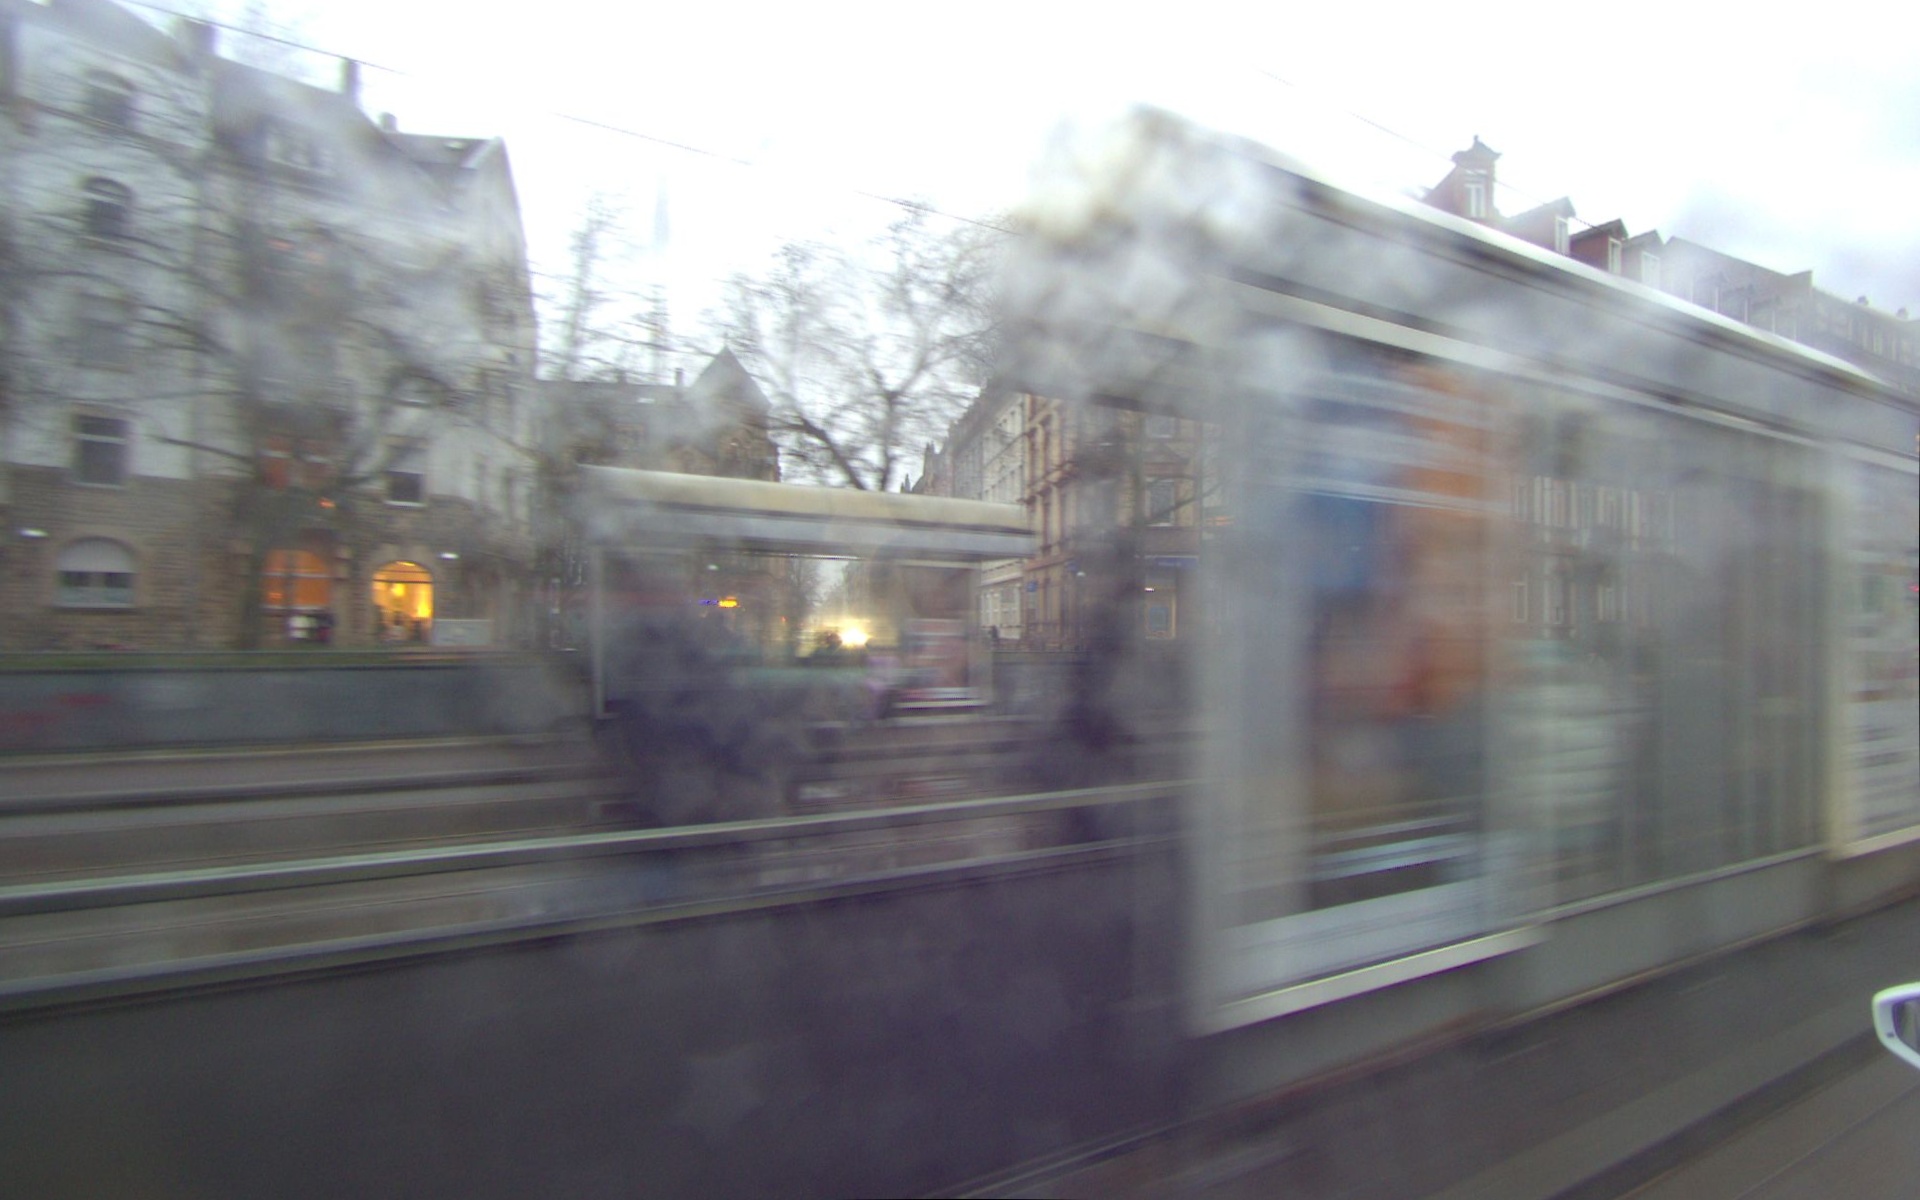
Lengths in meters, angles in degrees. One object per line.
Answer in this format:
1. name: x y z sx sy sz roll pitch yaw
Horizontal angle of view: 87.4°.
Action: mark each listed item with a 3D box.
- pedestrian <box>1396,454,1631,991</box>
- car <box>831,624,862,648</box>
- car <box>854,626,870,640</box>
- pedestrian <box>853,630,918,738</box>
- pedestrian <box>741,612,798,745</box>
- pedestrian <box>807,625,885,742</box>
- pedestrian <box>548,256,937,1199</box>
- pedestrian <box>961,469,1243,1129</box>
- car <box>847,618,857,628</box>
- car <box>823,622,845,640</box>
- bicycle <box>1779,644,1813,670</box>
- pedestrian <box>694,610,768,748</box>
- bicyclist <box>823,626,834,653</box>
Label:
1. pedestrian: 2.264 0.462 4.135 0.564 2.014 0.554 1 1 -30
2. car: -8.711 2.736 76.847 1.965 1.728 3.992 1 -2 -11
3. car: -12.765 4.287 131.107 1.962 1.728 3.998 1 -2 -5
4. pedestrian: -0.913 1.003 12.246 0.511 1.235 0.649 1 1 -31
5. pedestrian: -2.129 0.858 11.222 0.448 1.422 0.470 1 1 -31
6. pedestrian: -1.365 0.967 11.947 0.500 1.271 1.050 1 1 -30
7. pedestrian: -0.534 0.397 2.245 0.564 1.982 0.849 1 1 -30
8. pedestrian: 0.416 0.534 3.058 0.564 1.764 0.554 1 1 -30
9. car: -19.967 4.300 185.379 1.648 1.728 3.998 1 -2 -5
10. car: -12.995 3.177 103.320 1.965 1.728 3.992 1 -2 -11
11. bicycle: 33.392 2.287 40.111 1.827 1.020 0.414 2 -2 -30
12. pedestrian: -2.523 0.844 11.033 0.572 1.422 0.680 1 1 -31
13. bicyclist: -6.782 2.021 51.636 0.521 1.382 0.765 1 -2 -6
